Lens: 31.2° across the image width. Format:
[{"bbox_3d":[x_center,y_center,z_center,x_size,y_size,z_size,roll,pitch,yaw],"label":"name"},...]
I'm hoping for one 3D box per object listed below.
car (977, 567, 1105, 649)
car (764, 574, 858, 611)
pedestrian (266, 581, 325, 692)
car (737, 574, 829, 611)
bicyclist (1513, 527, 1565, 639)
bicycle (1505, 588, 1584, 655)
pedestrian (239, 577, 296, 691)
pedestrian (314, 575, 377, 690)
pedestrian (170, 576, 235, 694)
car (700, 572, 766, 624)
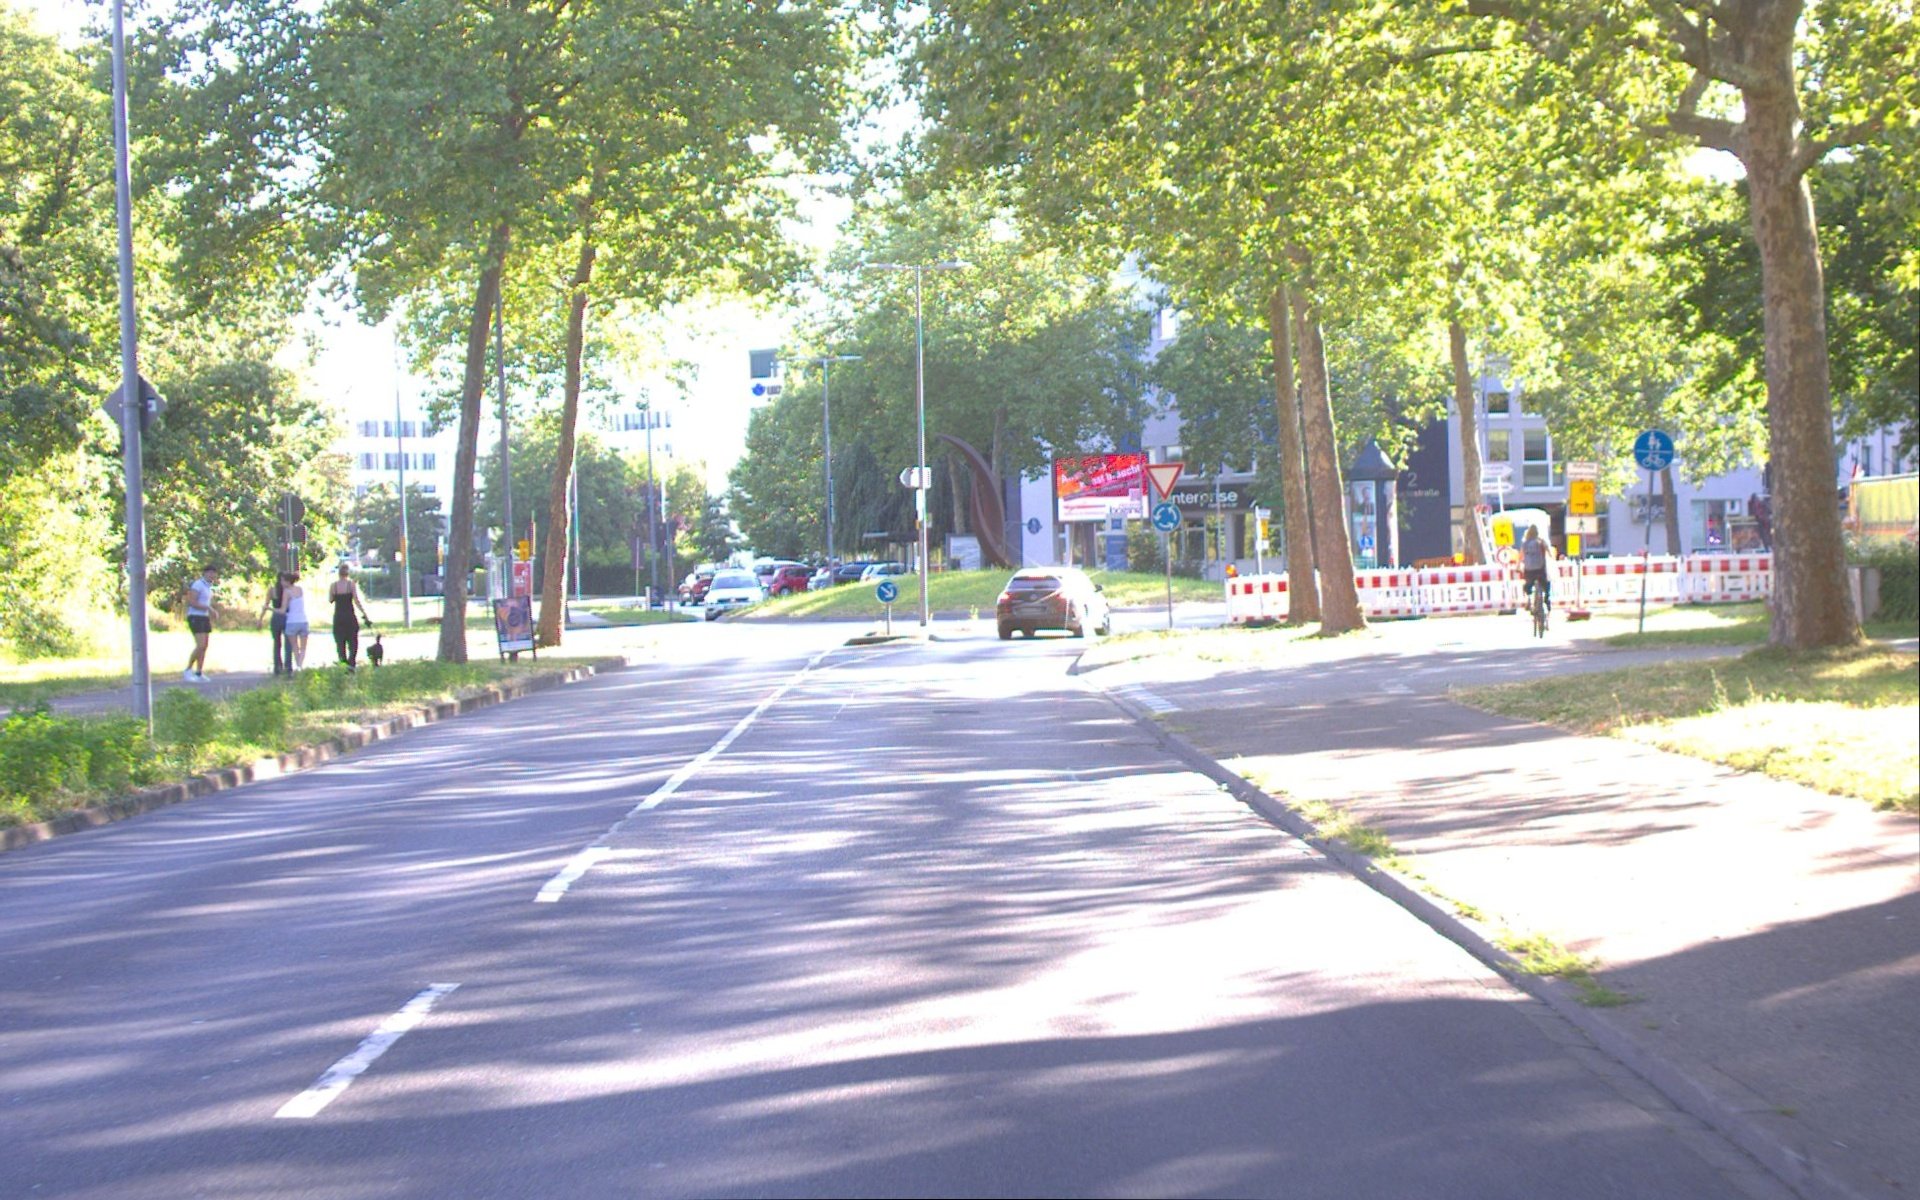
[{"bbox_3d":[1.712,0.144,71.560,1.840,1.600,3.860,-1,0,14],"label":"car"},{"bbox_3d":[-6.946,-0.356,160.560,3.987,1.741,1.795,0,0,-30],"label":"car"},{"bbox_3d":[-9.902,0.539,51.241,0.575,1.632,0.634,-1,0,26],"label":"pedestrian"},{"bbox_3d":[-8.411,-0.373,163.090,3.987,1.741,1.795,0,0,-30],"label":"car"},{"bbox_3d":[8.886,-0.265,52.777,0.651,1.699,0.871,0,0,0],"label":"bicyclist"},{"bbox_3d":[8.904,0.325,52.480,0.770,0.961,2.174,-3,-1,0],"label":"bicycle"},{"bbox_3d":[-10.643,0.517,52.836,0.665,1.733,0.751,-1,0,2],"label":"pedestrian"},{"bbox_3d":[-9.448,0.497,52.887,0.748,1.733,0.852,-1,0,2],"label":"pedestrian"},{"bbox_3d":[-11.275,0.522,51.170,0.633,1.733,0.664,-1,0,22],"label":"pedestrian"},{"bbox_3d":[-7.169,-0.056,108.494,1.993,1.573,4.000,-1,0,-4],"label":"car"}]
